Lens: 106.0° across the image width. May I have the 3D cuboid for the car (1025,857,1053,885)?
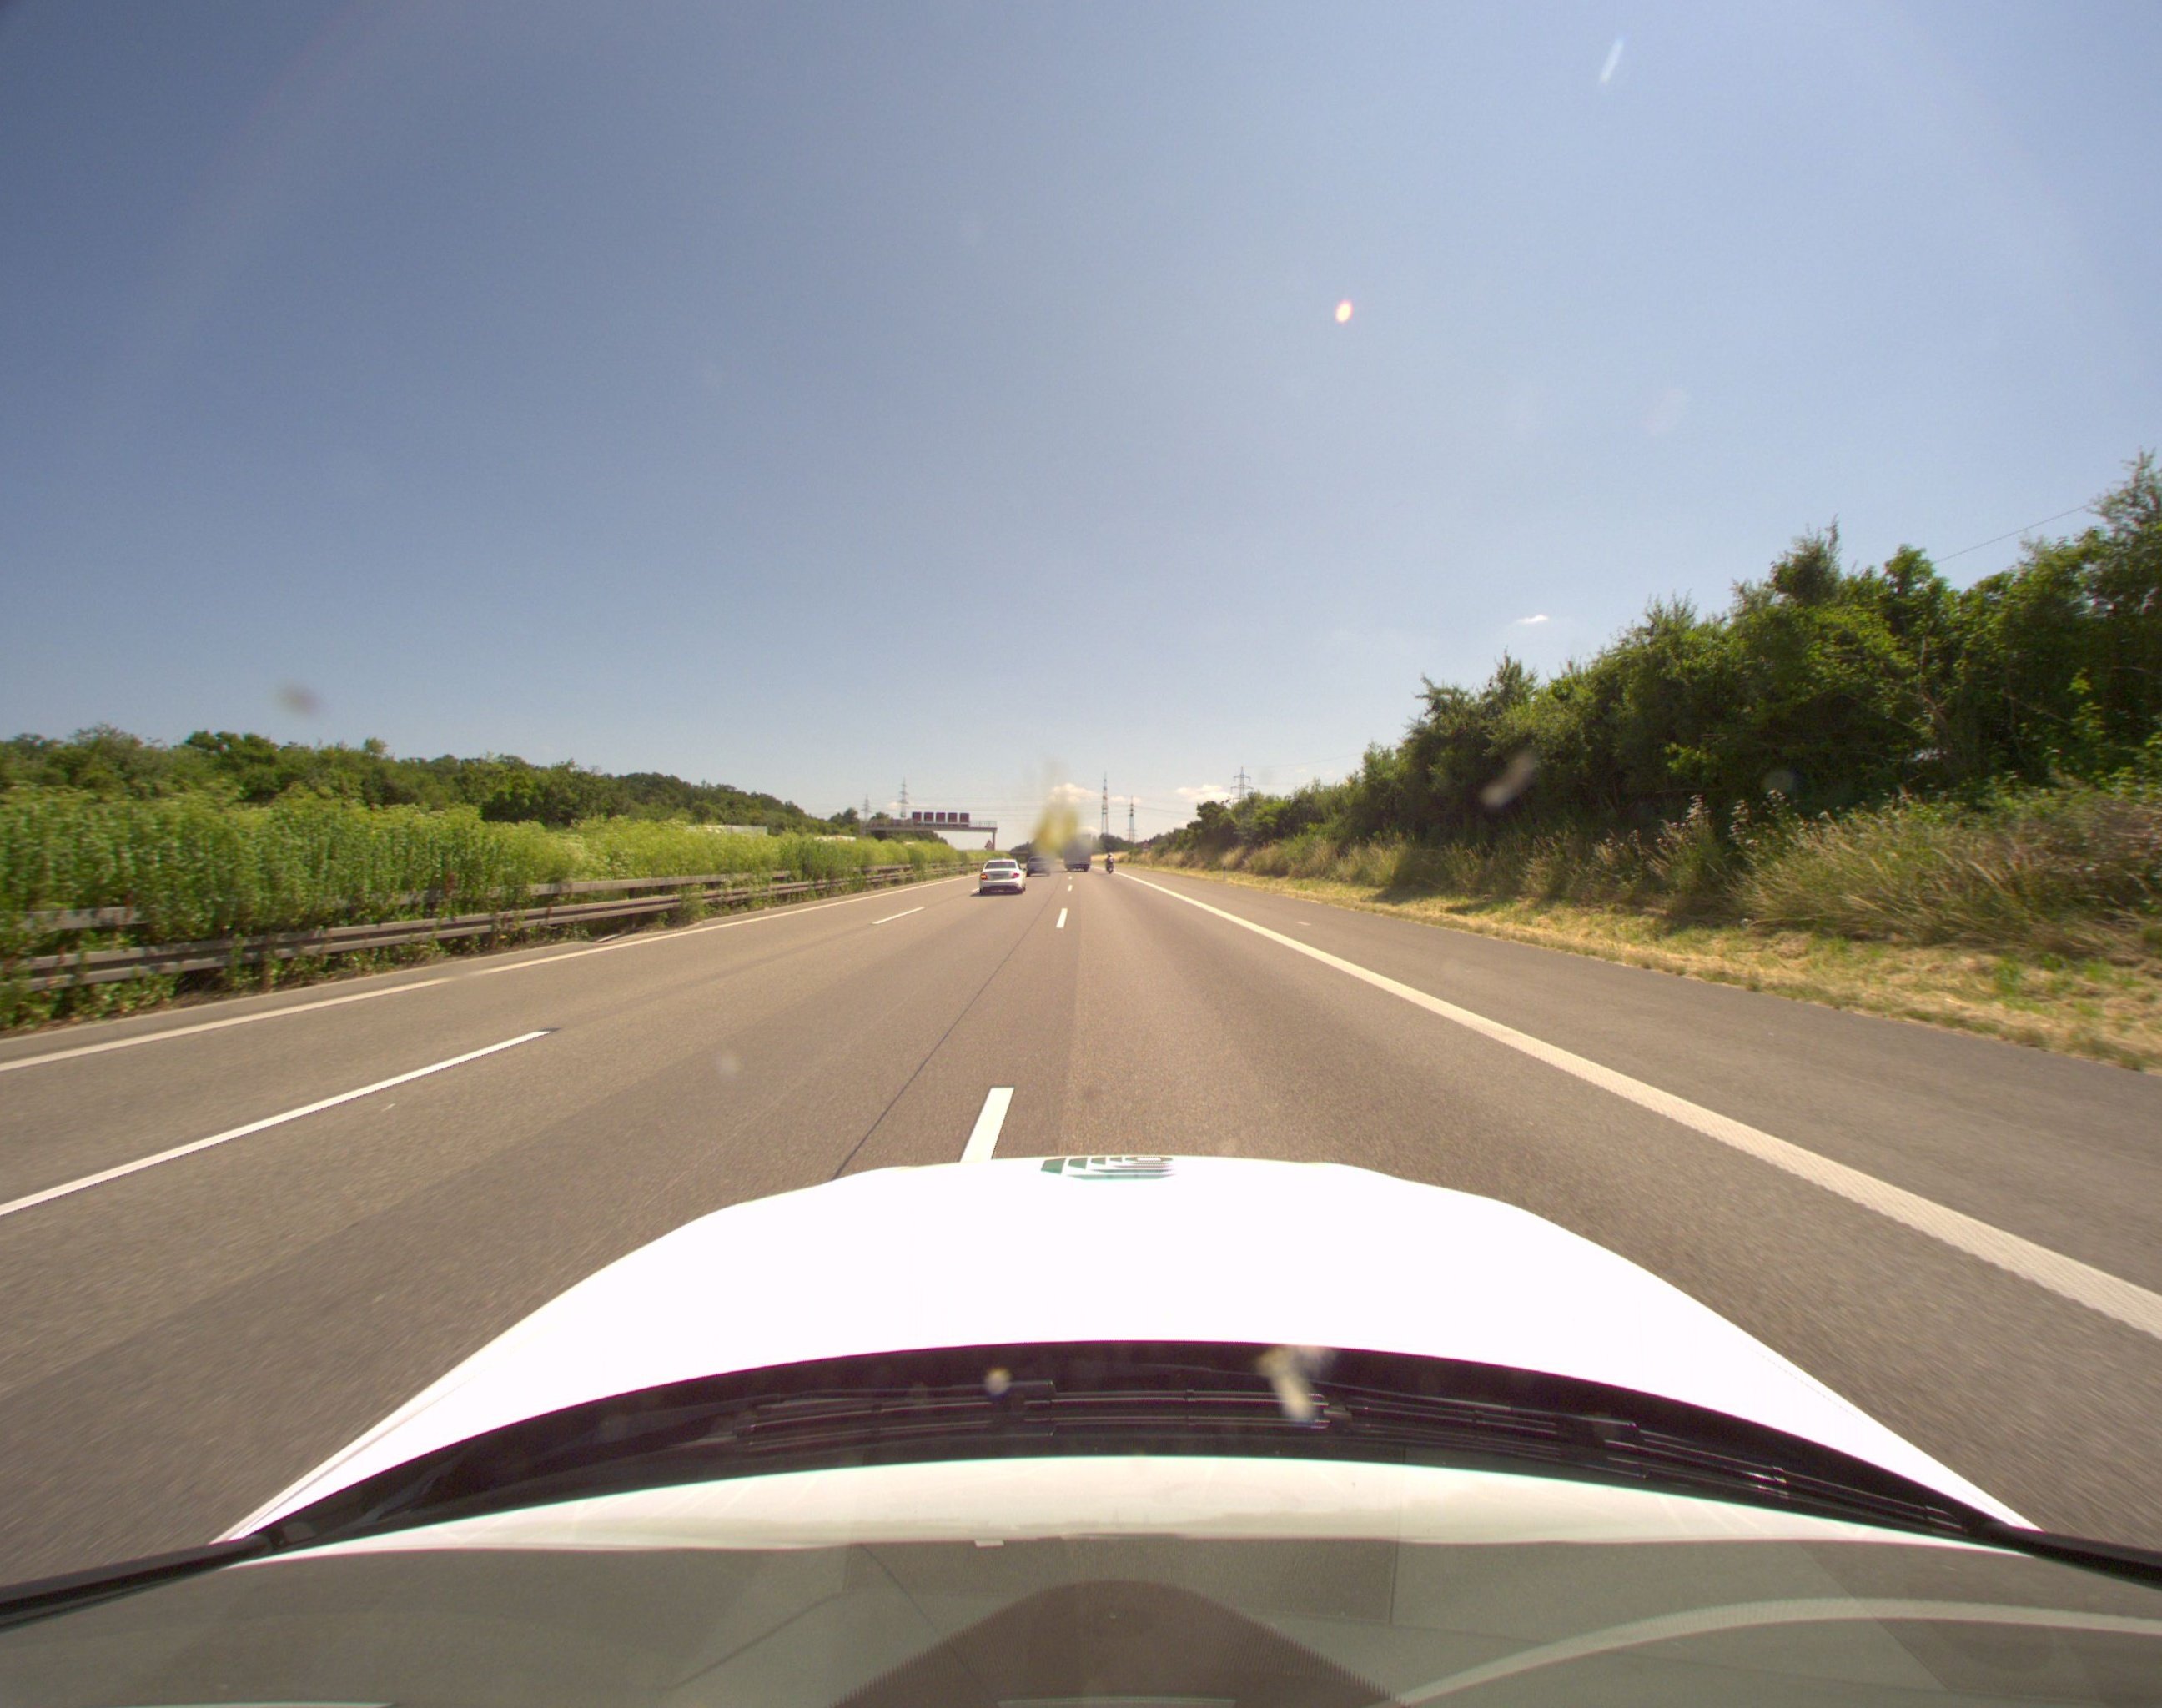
[{"bbox_3d":[-3.178,1.265,61.937,1.988,2.013,3.998,-2,0,-2],"label":"car"}]

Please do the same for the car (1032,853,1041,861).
[{"bbox_3d":[-10.604,0.653,195.519,1.895,1.925,4.000,-2,0,0],"label":"car"}]

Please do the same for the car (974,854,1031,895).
[{"bbox_3d":[-3.198,0.824,33.964,1.813,1.540,3.916,-2,0,2],"label":"car"}]

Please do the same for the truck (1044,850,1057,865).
[{"bbox_3d":[-8.572,0.960,230.619,3.475,3.912,7.283,-1,0,-2],"label":"truck"}]

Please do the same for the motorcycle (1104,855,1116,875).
[{"bbox_3d":[2.373,0.880,66.037,0.808,1.607,1.780,-1,0,-3],"label":"motorcycle"}]

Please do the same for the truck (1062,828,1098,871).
[{"bbox_3d":[-0.186,-0.374,79.491,3.212,3.924,9.054,-1,0,-2],"label":"truck"}]

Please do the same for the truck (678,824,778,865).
[{"bbox_3d":[-19.190,-0.526,44.770,2.484,2.013,6.796,-2,0,0],"label":"truck"}]

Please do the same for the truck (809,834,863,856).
[{"bbox_3d":[-24.306,-0.869,81.366,2.646,2.013,9.848,-2,0,-2],"label":"truck"}]

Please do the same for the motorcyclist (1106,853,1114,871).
[{"bbox_3d":[2.326,0.657,66.064,0.571,1.479,0.700,-2,0,-3],"label":"motorcyclist"}]

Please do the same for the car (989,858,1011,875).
[{"bbox_3d":[-7.326,1.092,73.835,1.752,1.429,3.996,-2,0,-3],"label":"car"}]
